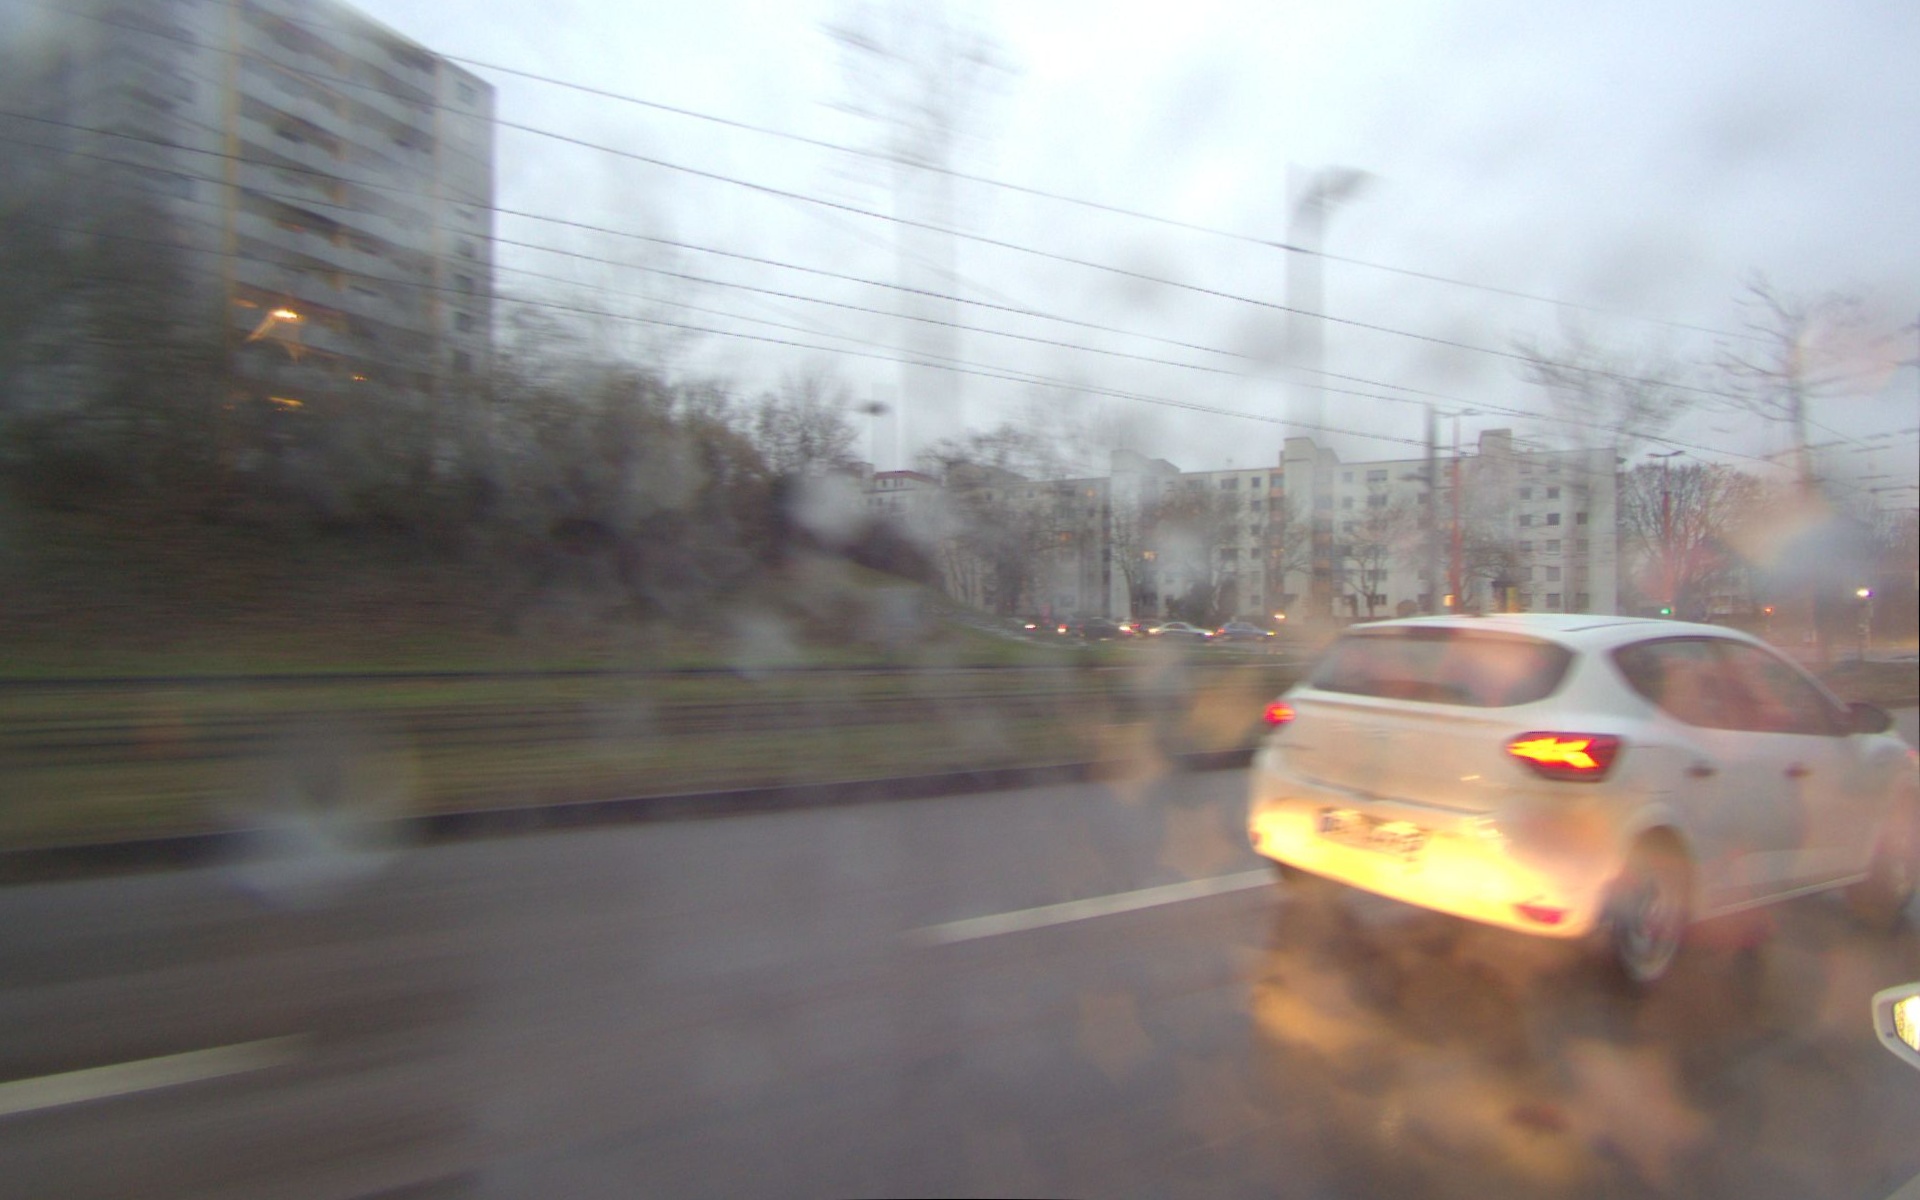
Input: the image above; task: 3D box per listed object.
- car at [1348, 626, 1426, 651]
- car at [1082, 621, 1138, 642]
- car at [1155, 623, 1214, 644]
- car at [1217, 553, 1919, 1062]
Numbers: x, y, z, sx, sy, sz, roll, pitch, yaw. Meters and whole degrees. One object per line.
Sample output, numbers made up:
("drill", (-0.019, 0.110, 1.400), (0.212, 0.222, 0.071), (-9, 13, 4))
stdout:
("car", (27.192, 2.421, 63.953), (4.364, 1.565, 1.847), (-1, -2, 33))
("car", (11.479, 2.383, 77.139), (3.931, 1.565, 1.708), (-1, -2, 32))
("car", (16.501, 2.451, 74.002), (3.931, 1.565, 1.708), (-1, -2, 32))
("car", (3.406, 0.727, 5.104), (4.099, 1.670, 1.705), (1, -1, -31))
